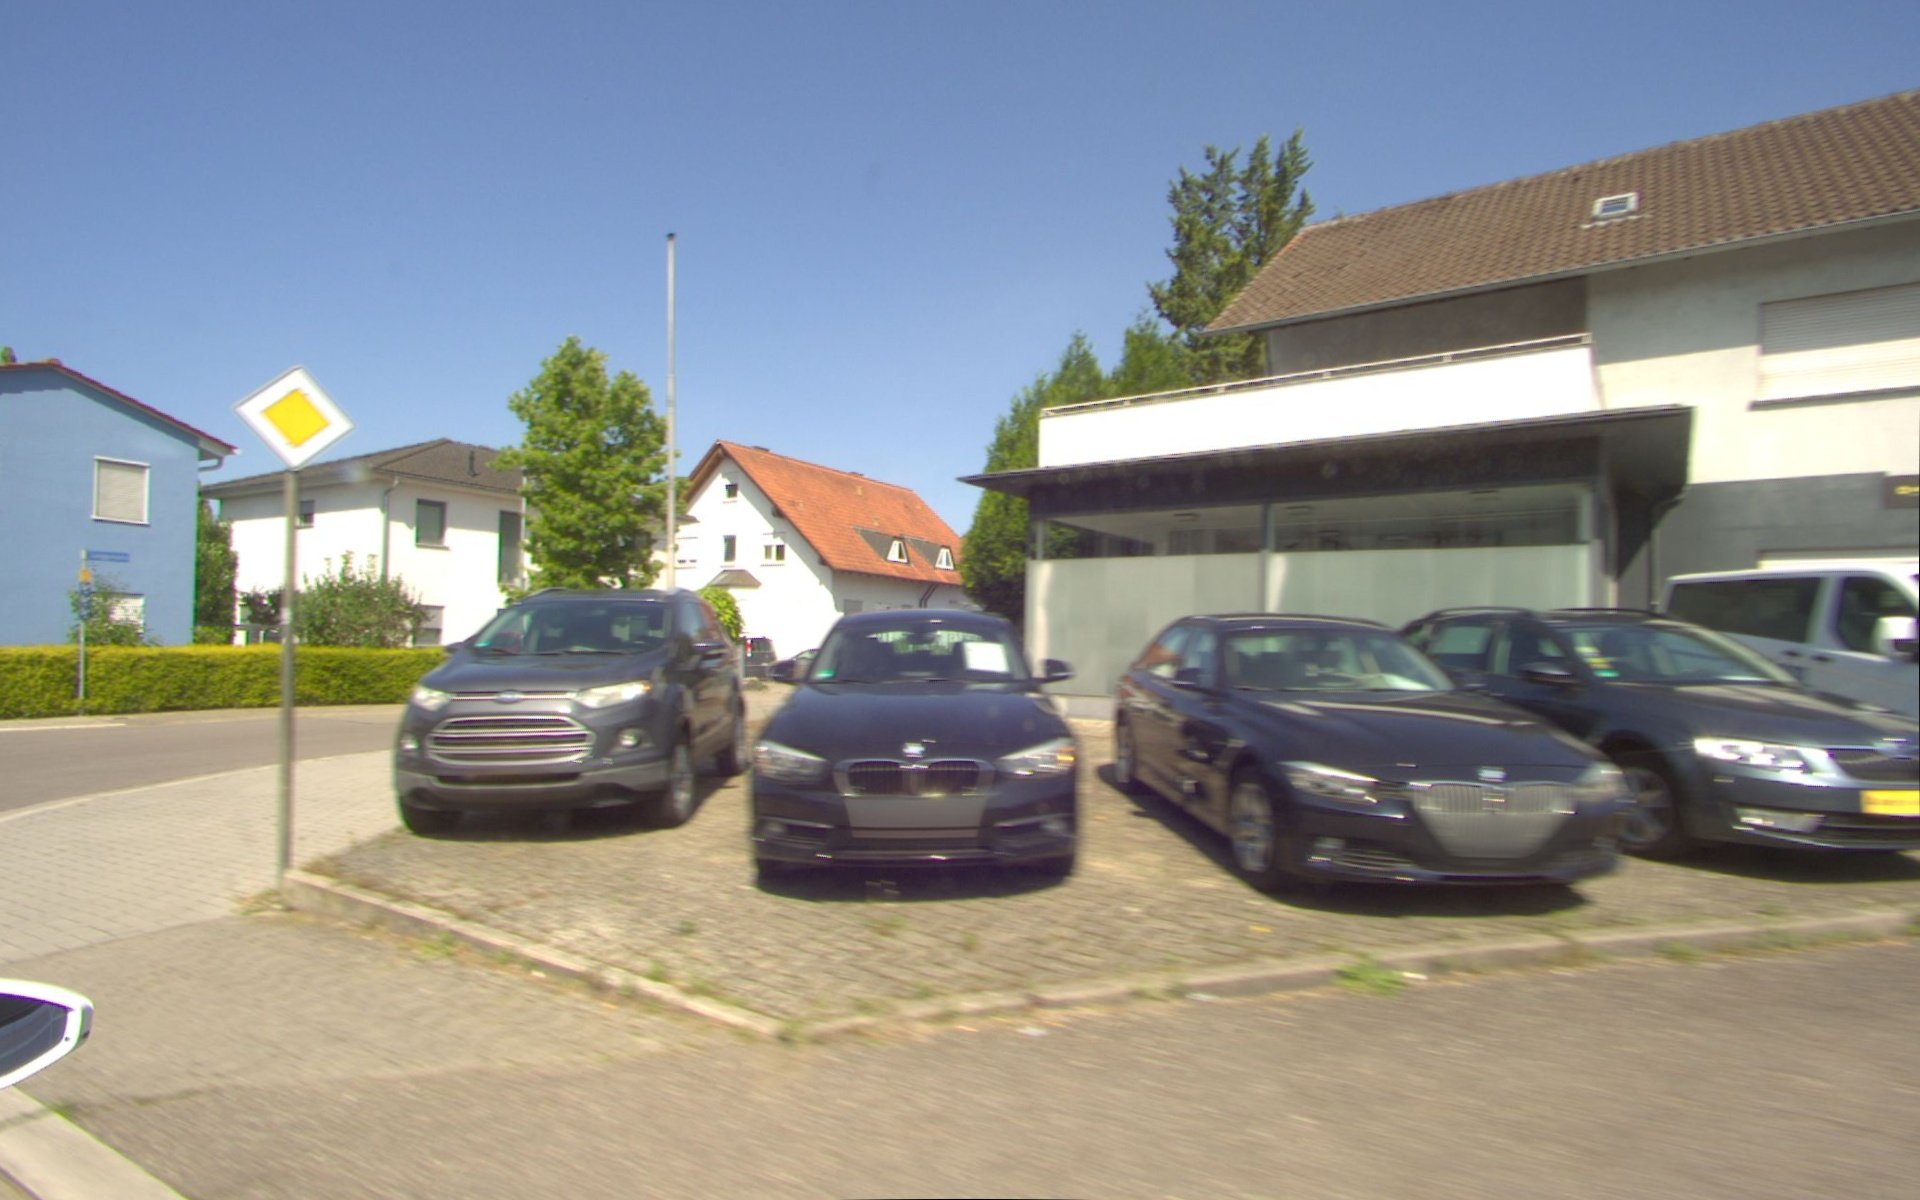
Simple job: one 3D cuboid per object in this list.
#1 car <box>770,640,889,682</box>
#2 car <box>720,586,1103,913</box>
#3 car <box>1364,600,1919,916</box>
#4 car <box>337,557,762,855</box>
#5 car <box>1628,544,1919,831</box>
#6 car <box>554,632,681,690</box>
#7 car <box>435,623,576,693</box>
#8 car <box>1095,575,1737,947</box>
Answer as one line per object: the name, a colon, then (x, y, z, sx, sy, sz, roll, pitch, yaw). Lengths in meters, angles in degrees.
car: (-4.900, 2.267, 37.523, 4.323, 1.447, 1.690, -1, -2, 31)
car: (-0.241, 0.710, 6.466, 1.717, 1.466, 3.874, 1, -1, -1)
car: (4.714, 0.828, 7.168, 1.945, 1.571, 4.318, 1, -1, 1)
car: (-2.723, 0.637, 7.730, 1.796, 1.675, 4.114, 1, -1, -4)
car: (8.177, 0.654, 8.501, 2.189, 2.040, 5.285, 0, -1, 10)
car: (-9.916, 1.761, 29.000, 3.423, 1.539, 1.619, -1, -4, 31)
car: (-11.854, 1.497, 26.070, 3.423, 1.692, 1.633, -1, -4, 31)
car: (2.292, 0.757, 6.460, 1.946, 1.586, 4.240, 1, -1, -4)
